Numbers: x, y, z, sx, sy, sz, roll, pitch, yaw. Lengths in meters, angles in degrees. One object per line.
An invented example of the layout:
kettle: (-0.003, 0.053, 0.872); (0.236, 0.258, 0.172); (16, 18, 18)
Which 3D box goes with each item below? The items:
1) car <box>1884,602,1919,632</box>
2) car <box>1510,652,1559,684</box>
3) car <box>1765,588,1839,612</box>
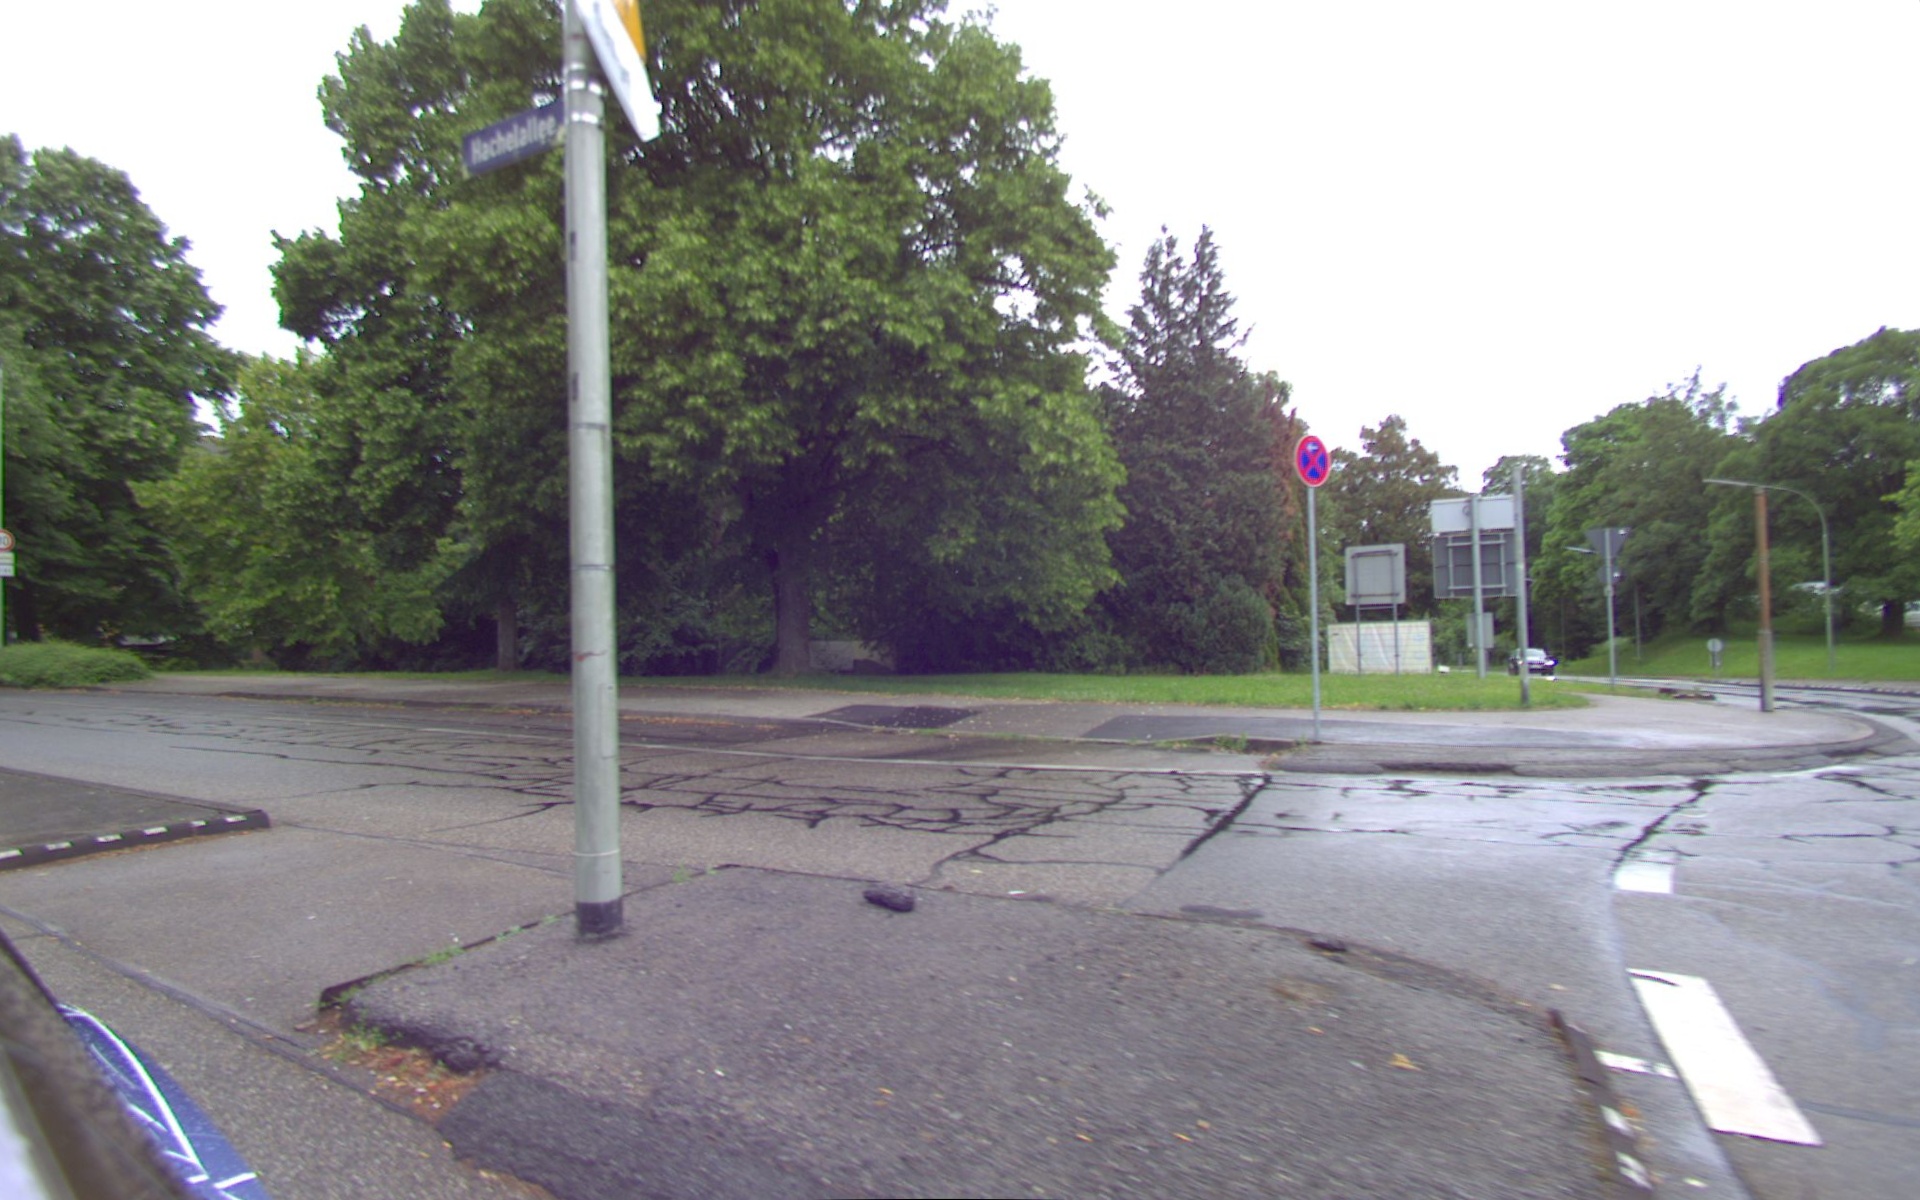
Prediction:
car: (55.162, 0.952, 57.442); (3.621, 1.606, 1.788); (-1, 1, 30)
car: (30.705, 3.602, 54.193); (1.703, 1.431, 3.971); (-1, 0, 21)
car: (58.674, 0.001, 70.593); (3.621, 1.606, 1.788); (-1, 1, 30)
